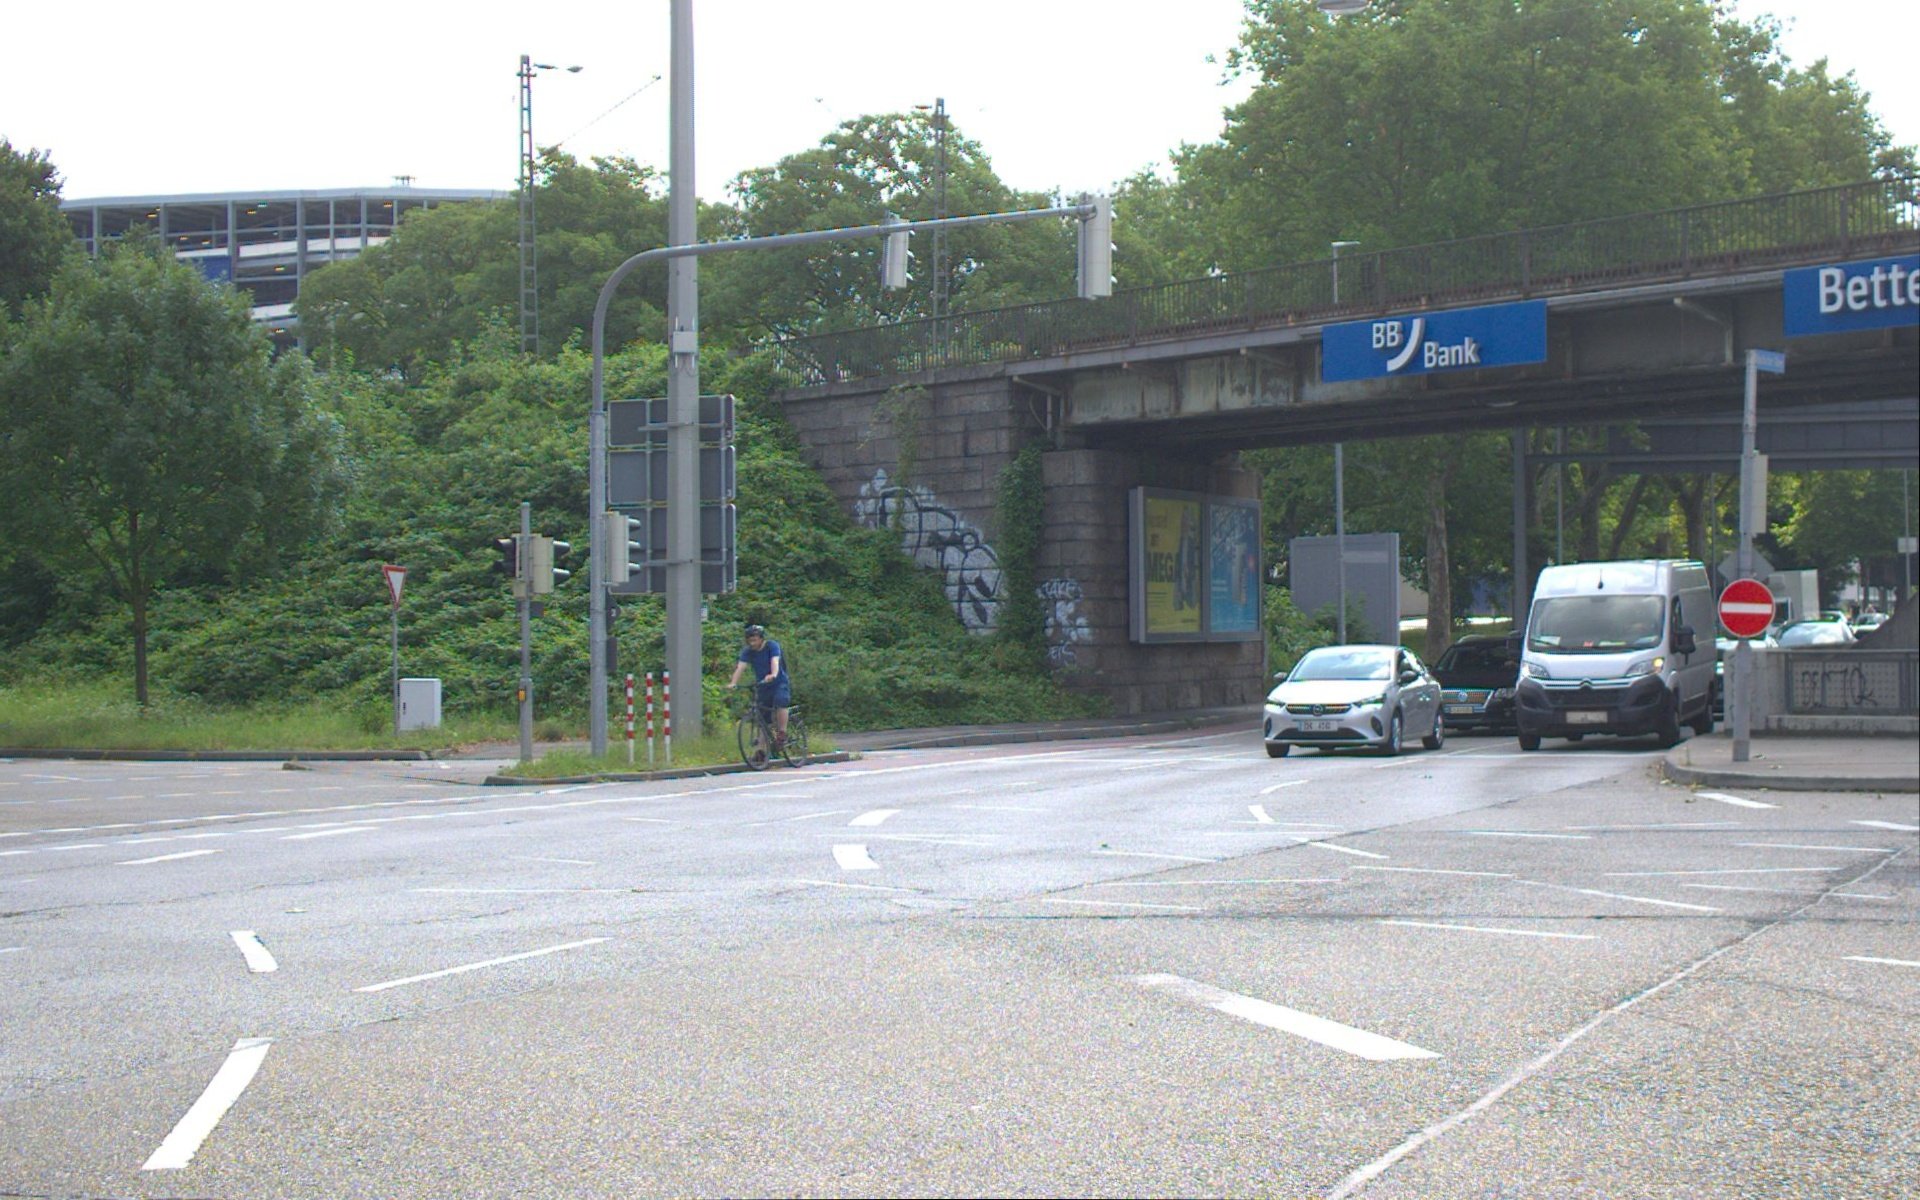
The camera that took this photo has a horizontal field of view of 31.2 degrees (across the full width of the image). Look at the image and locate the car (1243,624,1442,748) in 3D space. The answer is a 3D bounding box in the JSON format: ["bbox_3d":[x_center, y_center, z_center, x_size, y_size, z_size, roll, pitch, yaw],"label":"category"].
[{"bbox_3d":[5.093,1.105,45.376,1.704,1.472,3.996,-3,-1,19],"label":"car"}]

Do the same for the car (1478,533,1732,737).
[{"bbox_3d":[8.790,0.440,46.405,2.260,2.518,5.620,-3,-1,21],"label":"car"}]

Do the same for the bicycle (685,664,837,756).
[{"bbox_3d":[-2.486,1.366,43.340,0.844,1.090,2.315,0,0,28],"label":"bicycle"}]

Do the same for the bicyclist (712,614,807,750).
[{"bbox_3d":[-2.525,1.025,43.286,0.844,1.673,0.822,-2,0,28],"label":"bicyclist"}]

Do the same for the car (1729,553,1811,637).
[{"bbox_3d":[26.783,-0.157,113.622,2.247,2.570,5.621,-3,-1,16],"label":"car"}]

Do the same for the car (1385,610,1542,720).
[{"bbox_3d":[7.861,0.981,53.362,1.766,1.578,4.660,-2,-1,16],"label":"car"}]
